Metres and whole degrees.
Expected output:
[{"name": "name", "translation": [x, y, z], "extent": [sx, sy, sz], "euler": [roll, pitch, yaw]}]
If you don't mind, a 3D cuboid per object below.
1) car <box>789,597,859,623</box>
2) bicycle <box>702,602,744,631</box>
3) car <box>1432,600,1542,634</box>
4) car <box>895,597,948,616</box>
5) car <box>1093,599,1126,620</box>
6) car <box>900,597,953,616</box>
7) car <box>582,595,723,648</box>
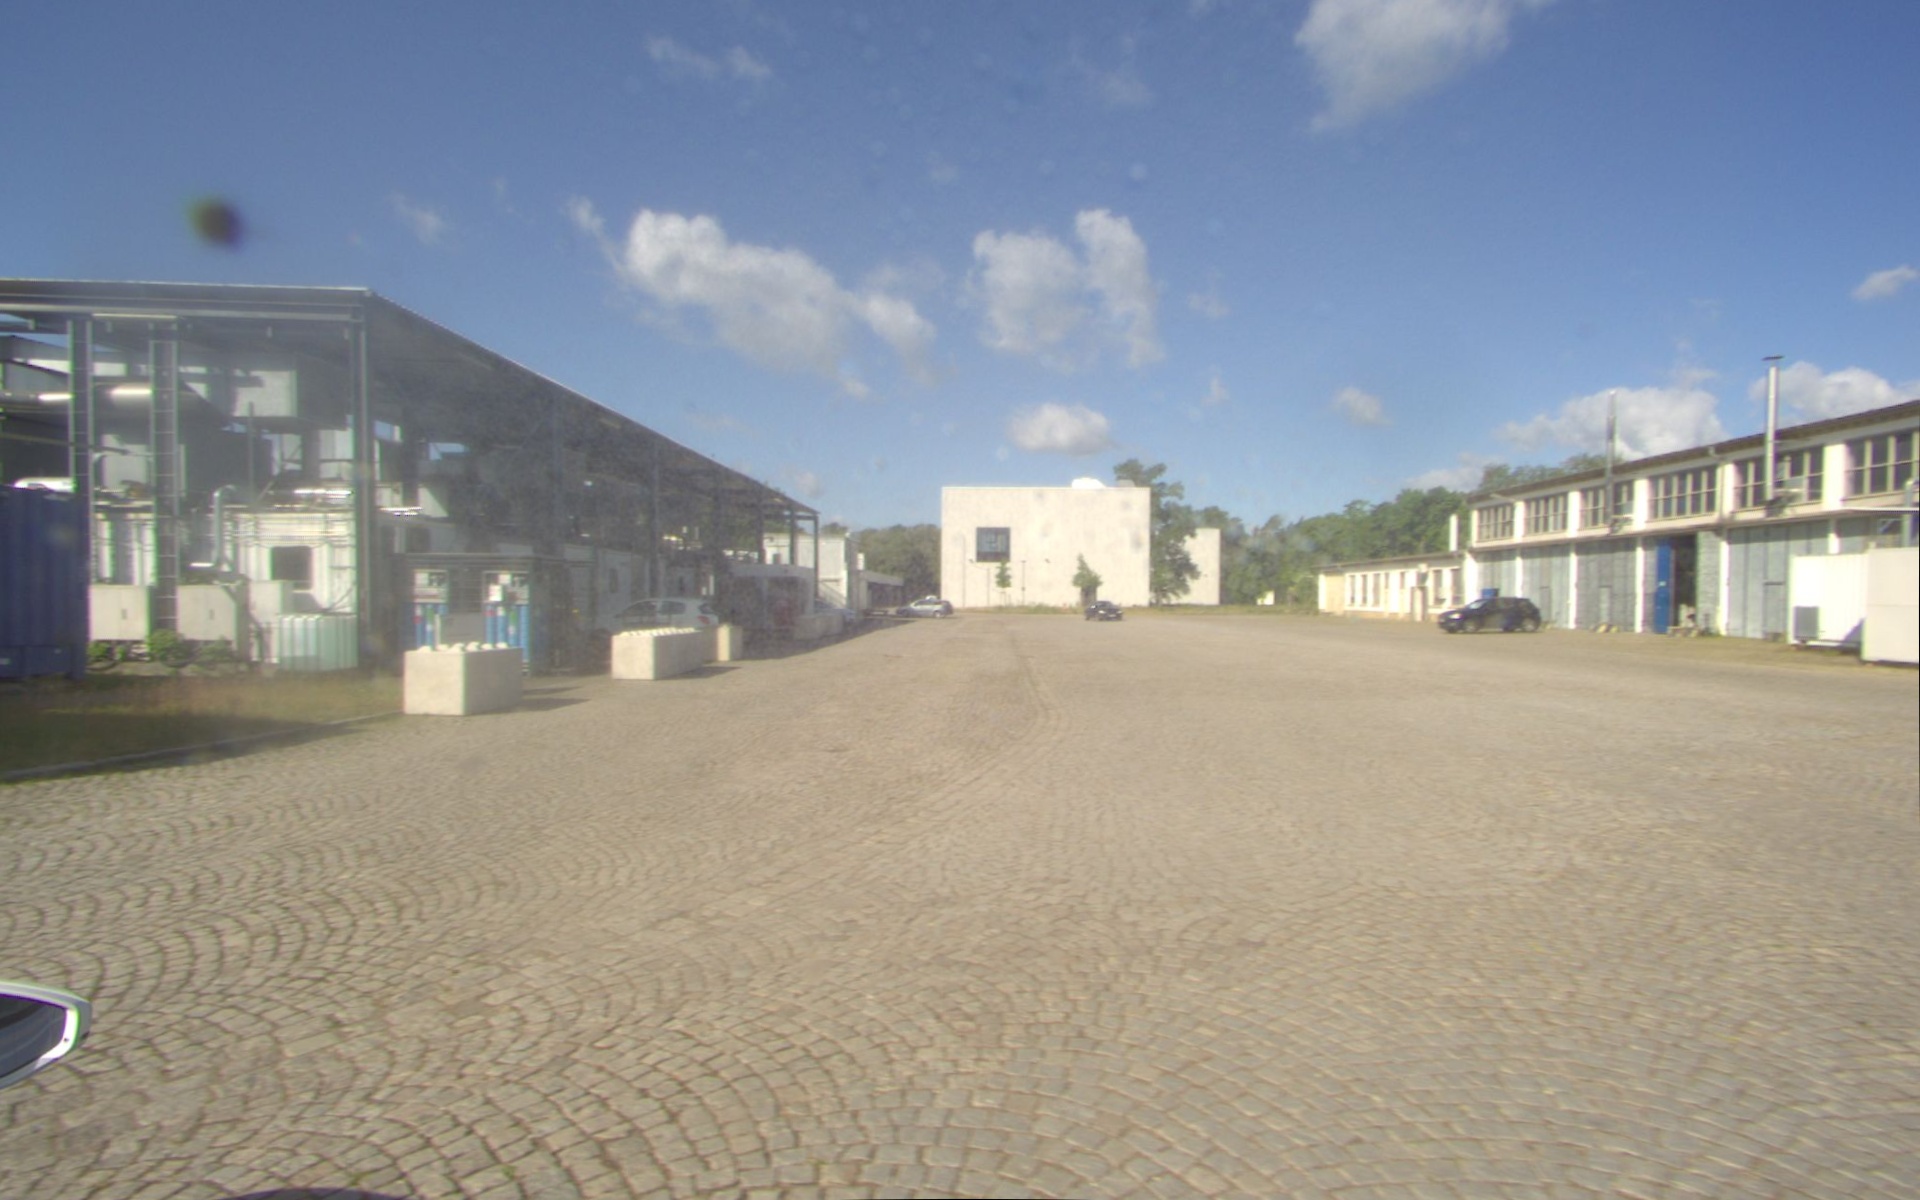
[{"name": "car", "translation": [-7.488, 0.541, 55.319], "extent": [3.625, 1.427, 1.675], "euler": [0, 0, -1]}, {"name": "bicycle", "translation": [-9.767, 0.683, 41.281], "extent": [1.638, 1.152, 0.485], "euler": [0, 1, 1]}, {"name": "car", "translation": [23.687, 0.735, 45.102], "extent": [3.997, 1.489, 1.740], "euler": [0, 0, 0]}, {"name": "car", "translation": [-3.063, 0.521, 79.786], "extent": [4.106, 1.422, 1.740], "euler": [0, 0, 1]}, {"name": "car", "translation": [10.595, 0.636, 71.045], "extent": [1.707, 1.448, 4.075], "euler": [0, 0, 0]}, {"name": "car", "translation": [-2.743, 0.543, 83.016], "extent": [4.274, 1.489, 1.740], "euler": [0, 0, 1]}, {"name": "car", "translation": [-8.459, 0.587, 27.752], "extent": [3.406, 1.394, 1.611], "euler": [0, 0, -1]}]
